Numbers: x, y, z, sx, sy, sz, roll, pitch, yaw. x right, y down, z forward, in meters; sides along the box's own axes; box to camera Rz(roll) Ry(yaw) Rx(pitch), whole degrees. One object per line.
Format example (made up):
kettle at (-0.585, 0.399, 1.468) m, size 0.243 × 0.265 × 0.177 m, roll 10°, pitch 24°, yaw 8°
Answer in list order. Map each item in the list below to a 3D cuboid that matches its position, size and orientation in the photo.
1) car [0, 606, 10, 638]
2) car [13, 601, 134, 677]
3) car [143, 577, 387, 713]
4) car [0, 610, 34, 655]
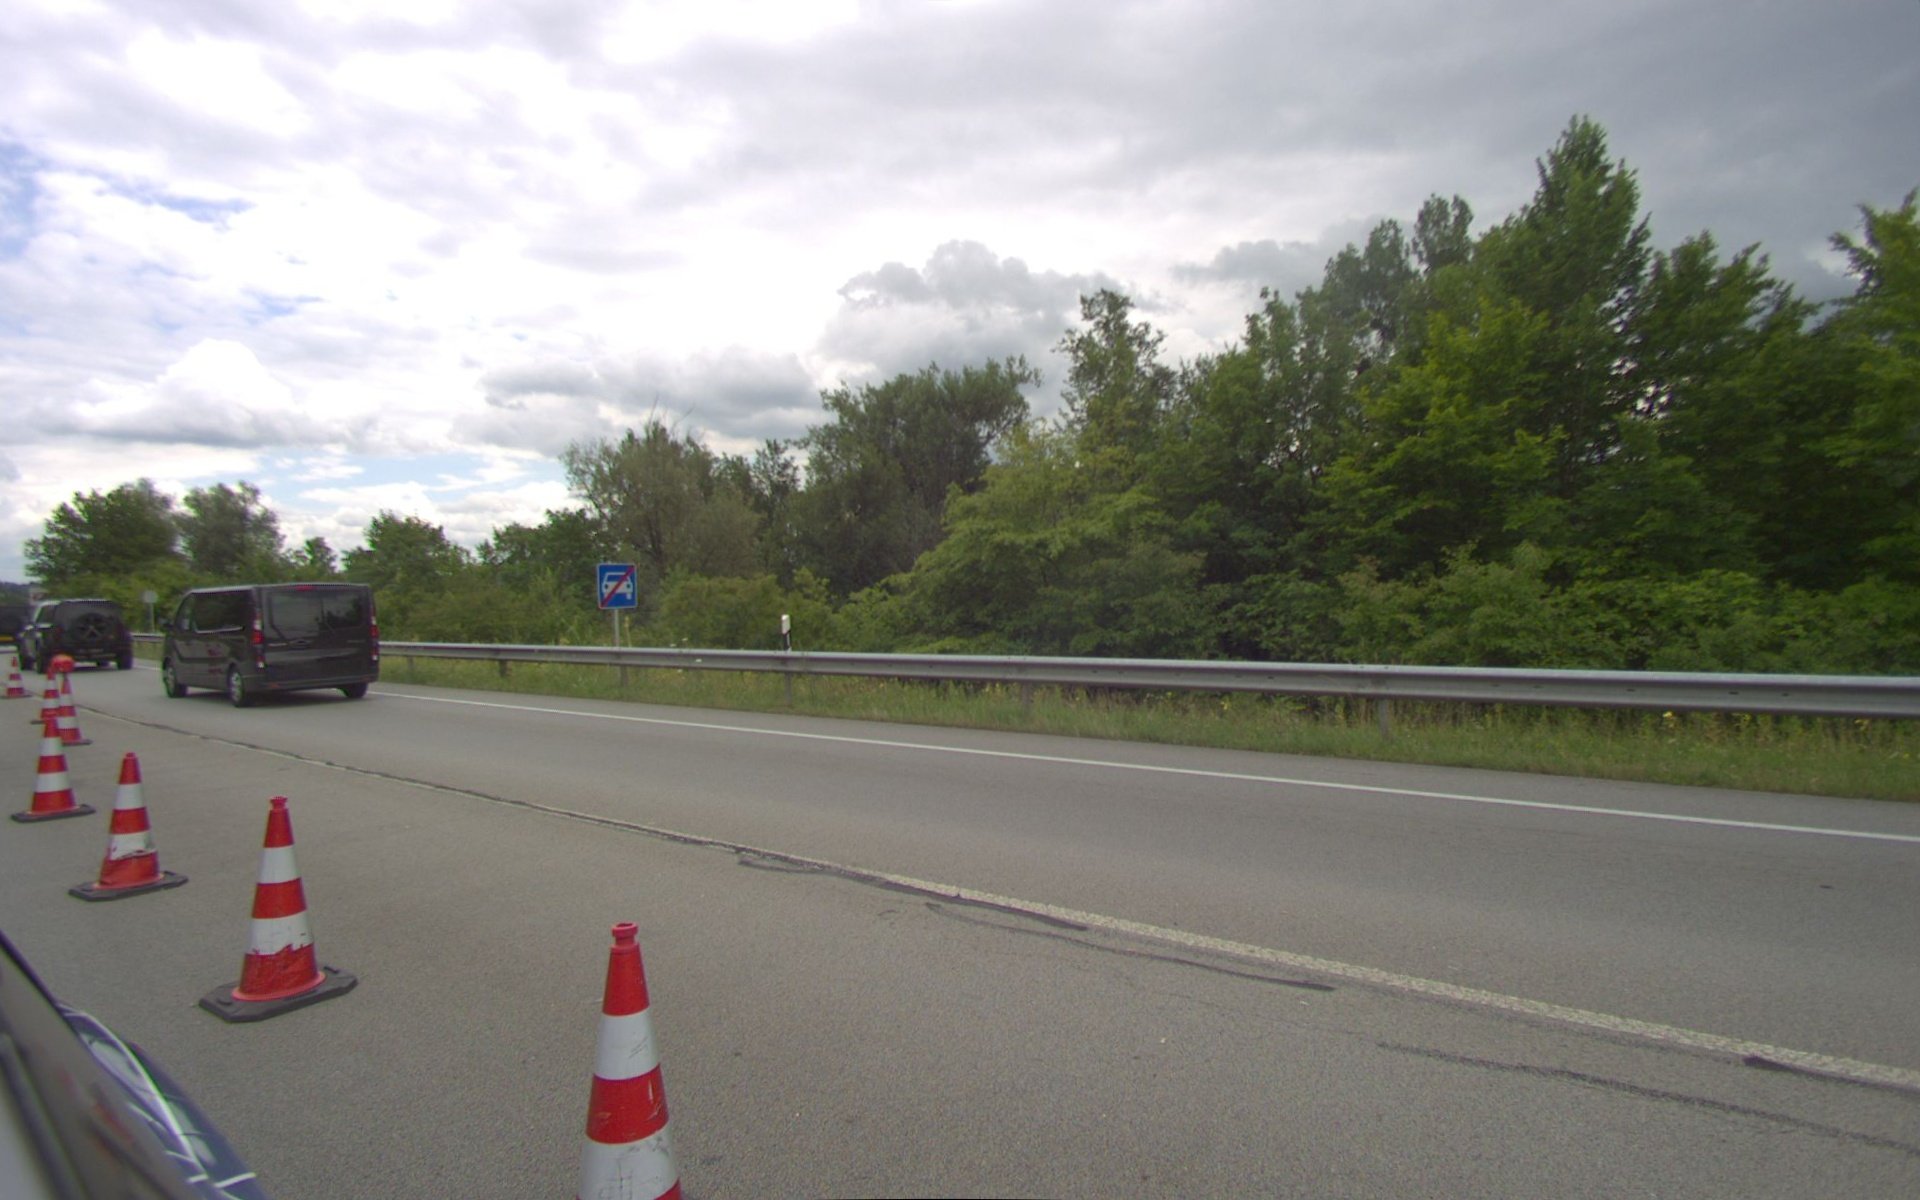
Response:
car at (-49.484, 1.132, 51.140) m, size 4.533 × 1.618 × 1.903 m, roll -1°, pitch -1°, yaw 44°
car at (-24.340, 1.029, 27.722) m, size 4.530 × 1.898 × 1.946 m, roll -1°, pitch -1°, yaw 42°
car at (-12.038, 0.708, 17.370) m, size 5.309 × 2.002 × 2.009 m, roll -1°, pitch -1°, yaw 39°
car at (-41.350, 1.407, 43.489) m, size 4.532 × 1.844 × 1.904 m, roll -1°, pitch -1°, yaw 43°
